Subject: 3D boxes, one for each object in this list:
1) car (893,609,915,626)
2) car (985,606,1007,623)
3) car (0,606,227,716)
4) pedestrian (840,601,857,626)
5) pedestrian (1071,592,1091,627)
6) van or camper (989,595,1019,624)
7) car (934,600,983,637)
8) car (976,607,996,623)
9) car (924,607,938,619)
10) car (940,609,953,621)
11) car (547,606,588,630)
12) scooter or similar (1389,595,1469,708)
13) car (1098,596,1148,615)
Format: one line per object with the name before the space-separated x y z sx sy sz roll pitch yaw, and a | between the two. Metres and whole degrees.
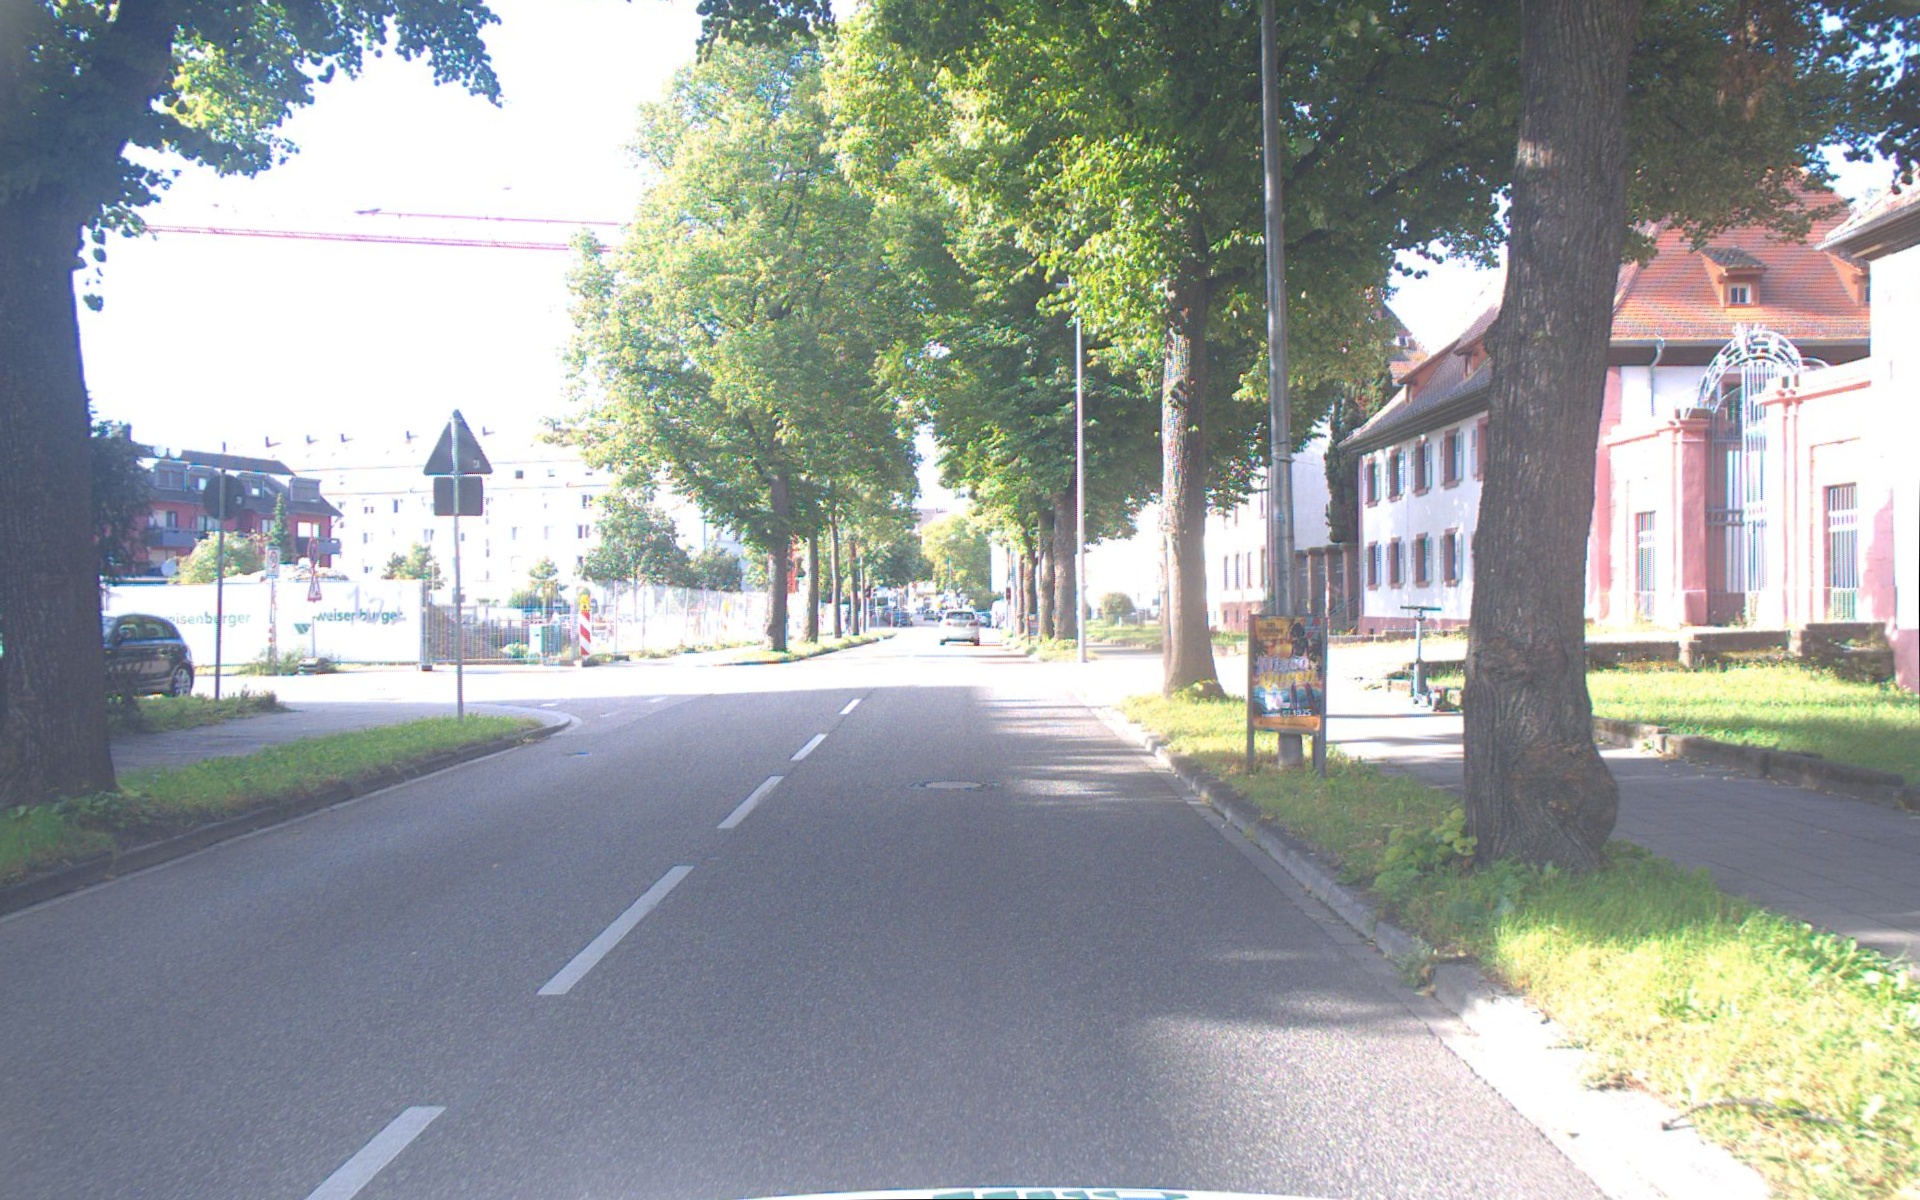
car | -5.755 1.756 170.323 1.955 1.668 3.994 -1 0 -6
car | 3.585 1.455 164.939 1.953 1.601 3.999 -1 0 -1
car | -12.867 0.884 24.400 1.952 1.454 4.508 -1 -1 2
pedestrian | -7.768 0.929 115.157 0.989 1.758 1.174 0 -2 -12
pedestrian | 5.740 0.462 78.210 0.797 1.618 0.769 -3 -1 -1
van or camper | 4.074 0.885 154.017 2.166 2.653 5.367 -1 0 -4
car | -0.091 0.836 73.598 1.954 1.582 4.271 1 -1 -3
car | 2.761 1.622 175.511 1.953 1.601 3.999 -1 0 -1
car | -4.335 1.987 250.383 1.952 1.786 4.000 1 -1 0
car | -2.093 2.376 262.289 1.952 1.786 4.000 1 -1 0
car | -35.402 1.587 149.204 1.951 2.049 4.003 -1 0 15
scooter or similar | 5.734 0.612 20.267 0.567 1.314 1.382 -2 0 1
car | 14.687 0.482 149.167 4.355 1.650 2.001 -1 0 3
